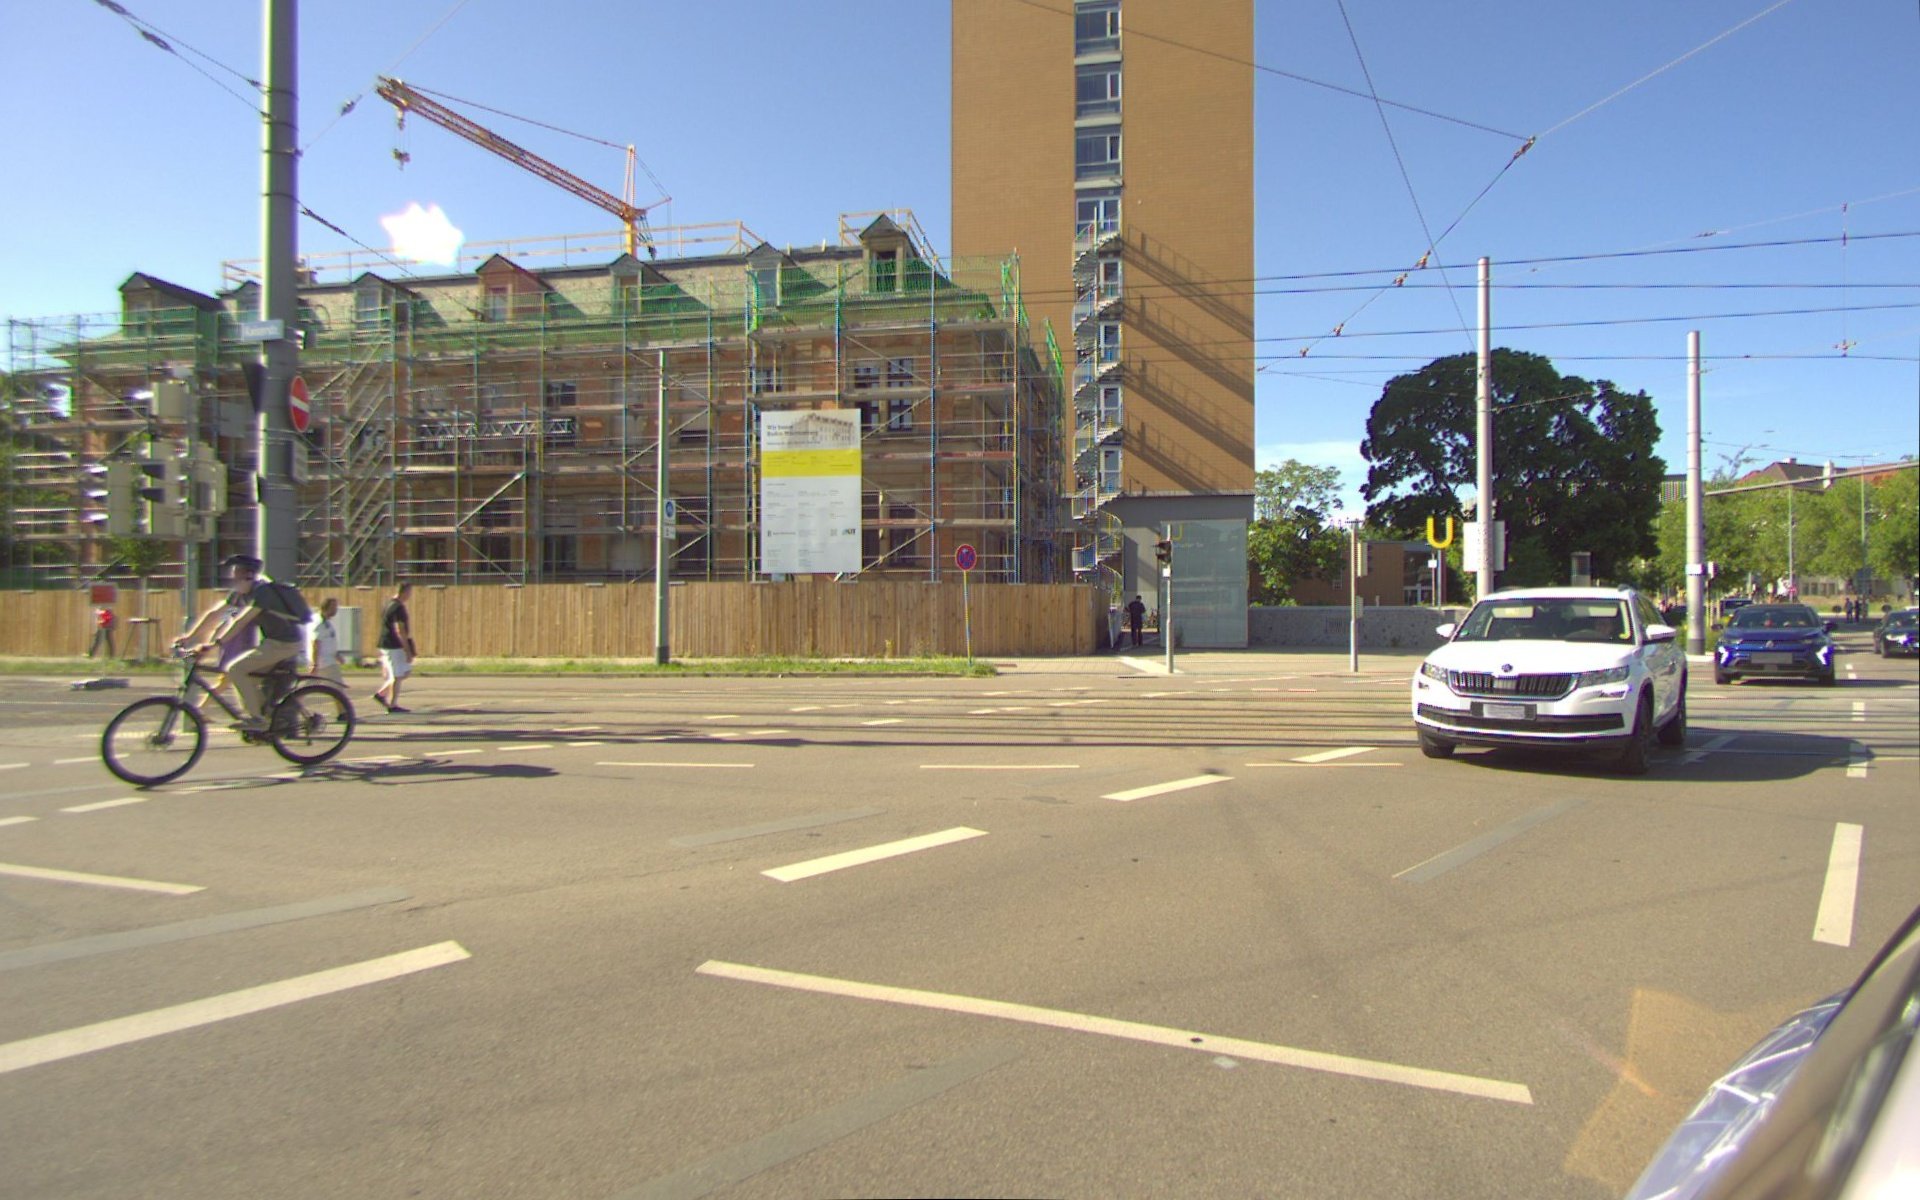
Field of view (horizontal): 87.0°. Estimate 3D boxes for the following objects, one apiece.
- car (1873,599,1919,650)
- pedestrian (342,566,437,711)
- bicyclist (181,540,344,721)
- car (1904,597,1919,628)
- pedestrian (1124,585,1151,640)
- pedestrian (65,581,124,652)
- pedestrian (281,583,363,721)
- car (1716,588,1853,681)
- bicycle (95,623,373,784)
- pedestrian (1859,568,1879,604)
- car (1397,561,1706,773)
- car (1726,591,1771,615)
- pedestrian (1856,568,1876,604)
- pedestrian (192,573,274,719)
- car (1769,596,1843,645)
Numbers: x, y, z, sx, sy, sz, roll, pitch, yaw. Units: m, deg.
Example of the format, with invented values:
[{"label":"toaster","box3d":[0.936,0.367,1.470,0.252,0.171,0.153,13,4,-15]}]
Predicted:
[{"label":"car","box3d":[29.917,0.719,31.441,1.911,1.477,3.814,-2,-1,37]},{"label":"pedestrian","box3d":[-8.119,0.526,14.400,1.030,1.954,0.932,0,-2,-39]},{"label":"bicyclist","box3d":[-5.969,0.250,8.675,0.673,1.439,1.021,-3,-2,42]},{"label":"car","box3d":[48.643,0.585,50.442,1.749,1.474,4.069,-2,-1,35]},{"label":"pedestrian","box3d":[5.974,0.422,34.010,0.766,1.810,0.827,-2,-1,16]},{"label":"pedestrian","box3d":[-25.854,0.492,30.243,1.069,2.039,0.863,-2,-1,7]},{"label":"pedestrian","box3d":[-8.160,0.642,12.944,0.809,1.698,0.660,0,-2,-39]},{"label":"car","box3d":[16.299,0.626,20.006,1.879,1.651,3.954,-2,-1,40]},{"label":"bicycle","box3d":[-6.066,0.808,8.547,0.531,1.173,1.837,-2,-1,42]},{"label":"pedestrian","box3d":[63.549,-0.979,70.744,0.870,2.451,0.878,-2,-2,34]},{"label":"car","box3d":[6.112,0.566,10.200,1.862,1.666,4.330,-1,-2,42]},{"label":"car","box3d":[52.331,0.190,67.228,1.908,1.477,4.614,-2,-1,33]},{"label":"pedestrian","box3d":[64.056,-0.981,71.567,0.870,2.466,0.878,-2,-2,34]},{"label":"pedestrian","box3d":[-9.252,0.567,12.879,0.809,1.780,0.660,0,-2,-39]},{"label":"car","box3d":[30.143,0.708,36.059,1.879,1.651,3.954,-2,-1,40]}]
